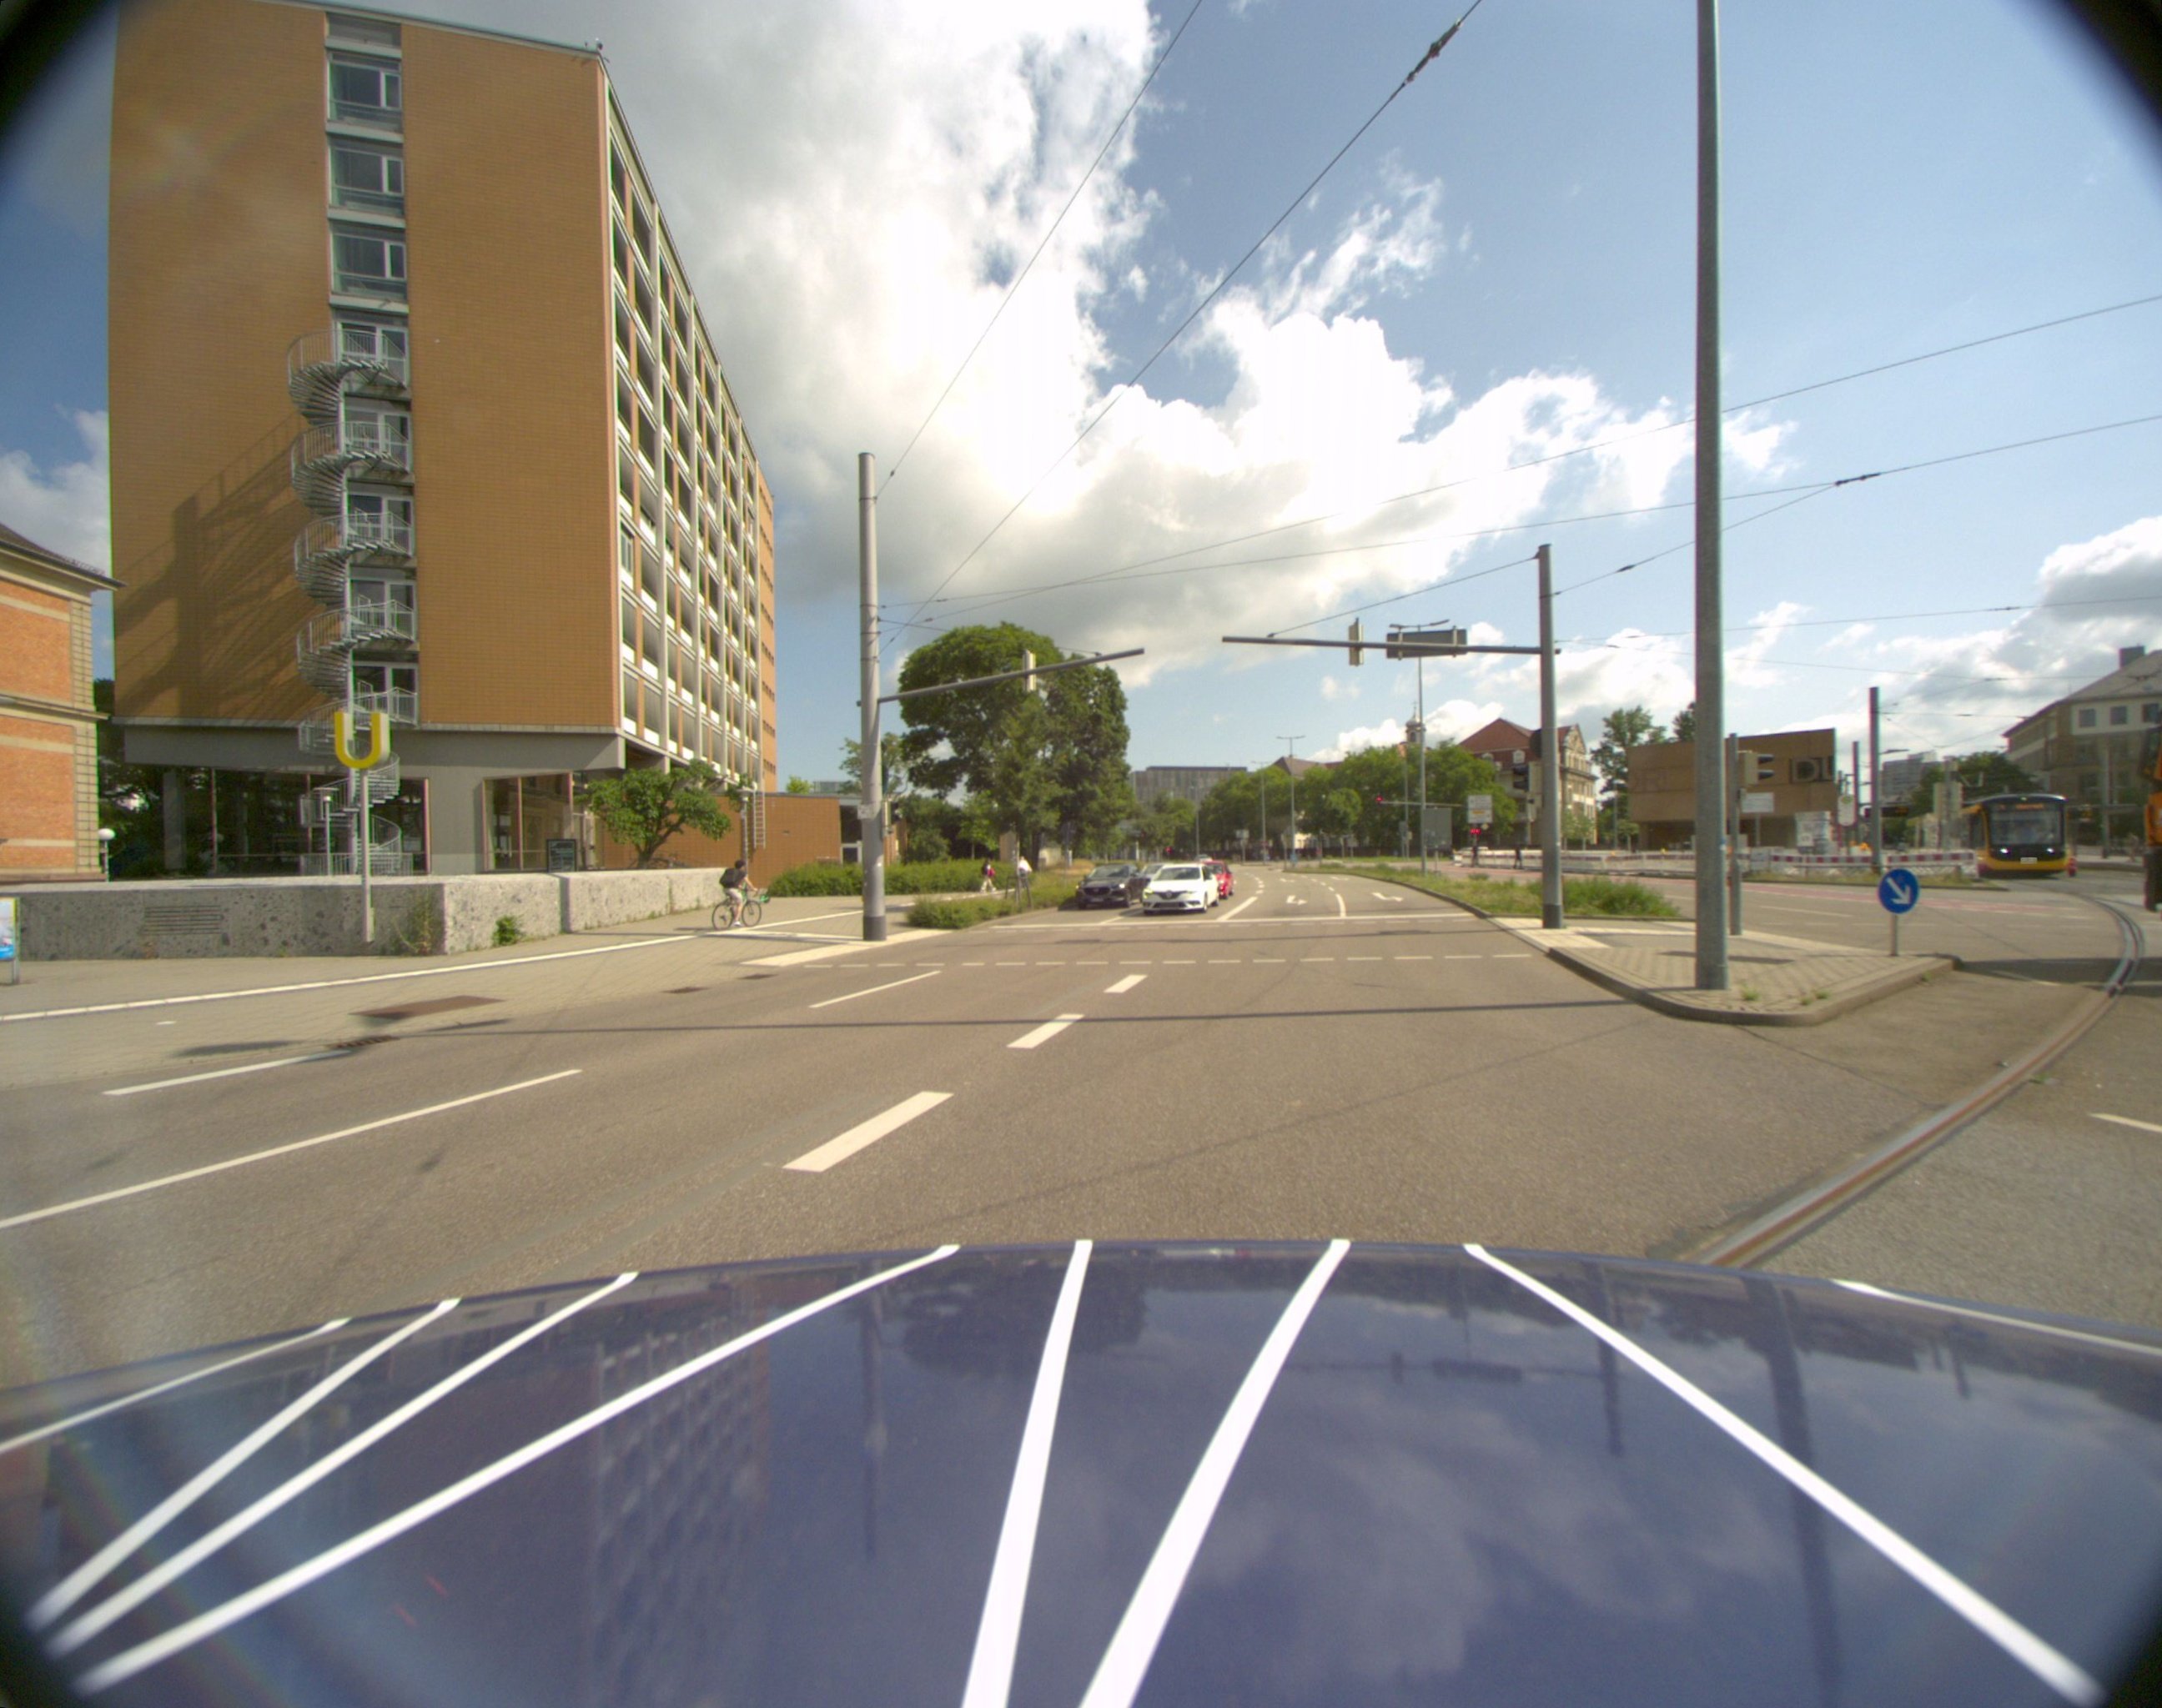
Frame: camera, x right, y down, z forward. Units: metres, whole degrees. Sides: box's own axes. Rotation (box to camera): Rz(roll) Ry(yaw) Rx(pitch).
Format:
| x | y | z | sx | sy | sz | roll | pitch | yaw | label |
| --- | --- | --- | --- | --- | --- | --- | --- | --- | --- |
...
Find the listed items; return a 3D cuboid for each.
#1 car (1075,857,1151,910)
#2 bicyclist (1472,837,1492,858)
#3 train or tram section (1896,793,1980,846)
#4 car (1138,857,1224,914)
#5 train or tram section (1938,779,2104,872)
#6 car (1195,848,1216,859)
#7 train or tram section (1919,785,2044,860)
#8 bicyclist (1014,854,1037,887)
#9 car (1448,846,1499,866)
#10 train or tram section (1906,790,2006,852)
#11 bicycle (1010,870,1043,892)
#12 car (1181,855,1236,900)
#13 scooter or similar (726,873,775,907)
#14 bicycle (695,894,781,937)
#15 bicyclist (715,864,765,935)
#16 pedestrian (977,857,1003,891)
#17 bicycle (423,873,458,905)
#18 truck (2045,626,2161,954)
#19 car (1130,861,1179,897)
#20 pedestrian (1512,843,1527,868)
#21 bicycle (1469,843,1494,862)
| x | y | z | sx | sy | sz | roll | pitch | yaw | label |
| --- | --- | --- | --- | --- | --- | --- | --- | --- | --- |
| 1.220 | 0.984 | 26.718 | 1.643 | 1.567 | 4.216 | -3 | 0 | 16 | car |
| 31.481 | -0.496 | 59.702 | 0.777 | 1.554 | 1.777 | -1 | 0 | 6 | bicyclist |
| 63.225 | -2.559 | 56.311 | 3.315 | 3.460 | 10.628 | -3 | 1 | 44 | train or tram section |
| 3.205 | 0.899 | 23.472 | 1.760 | 1.421 | 4.680 | -3 | 0 | 18 | car |
| 40.939 | -1.265 | 33.527 | 3.315 | 3.460 | 10.628 | -3 | 1 | 44 | train or tram section |
| 17.575 | -0.047 | 107.278 | 1.831 | 1.516 | 3.997 | -1 | 0 | -9 | car |
| 48.373 | -1.696 | 41.160 | 3.315 | 3.460 | 10.628 | -3 | 1 | 44 | train or tram section |
| -2.497 | 0.733 | 34.355 | 0.635 | 1.449 | 1.171 | -1 | 0 | 18 | bicyclist |
| 36.711 | 0.150 | 71.094 | 3.989 | 1.772 | 2.004 | -1 | 0 | 37 | car |
| 55.801 | -2.128 | 48.739 | 3.315 | 3.460 | 10.628 | -3 | 1 | 44 | train or tram section |
| -2.456 | 1.231 | 34.443 | 0.652 | 0.892 | 2.278 | -1 | 0 | 18 | bicycle |
| 5.006 | 0.869 | 29.529 | 1.643 | 1.459 | 4.069 | -3 | 0 | 15 | car |
| -11.712 | 1.254 | 26.971 | 1.540 | 1.176 | 0.433 | 1 | -1 | -36 | scooter or similar |
| -8.394 | 1.492 | 18.686 | 0.759 | 0.870 | 1.813 | 2 | 1 | 30 | bicycle |
| -8.356 | 1.092 | 18.653 | 0.578 | 1.662 | 0.939 | 0 | 1 | 30 | bicyclist |
| -4.319 | 0.947 | 36.042 | 0.959 | 1.569 | 0.767 | -1 | 1 | -29 | pedestrian |
| -26.478 | 1.427 | 31.418 | 0.428 | 1.240 | 1.473 | -1 | 0 | -12 | bicycle |
| 14.026 | -0.792 | 6.308 | 2.832 | 3.985 | 8.078 | -1 | 0 | 11 | truck |
| 3.443 | 1.108 | 34.794 | 1.585 | 1.377 | 4.082 | -3 | 0 | 14 | car |
| 31.129 | 0.086 | 53.956 | 0.652 | 1.754 | 1.003 | -1 | 0 | 16 | pedestrian |
| 31.463 | -0.126 | 59.706 | 0.971 | 1.402 | 2.295 | -1 | 0 | 7 | bicycle |
